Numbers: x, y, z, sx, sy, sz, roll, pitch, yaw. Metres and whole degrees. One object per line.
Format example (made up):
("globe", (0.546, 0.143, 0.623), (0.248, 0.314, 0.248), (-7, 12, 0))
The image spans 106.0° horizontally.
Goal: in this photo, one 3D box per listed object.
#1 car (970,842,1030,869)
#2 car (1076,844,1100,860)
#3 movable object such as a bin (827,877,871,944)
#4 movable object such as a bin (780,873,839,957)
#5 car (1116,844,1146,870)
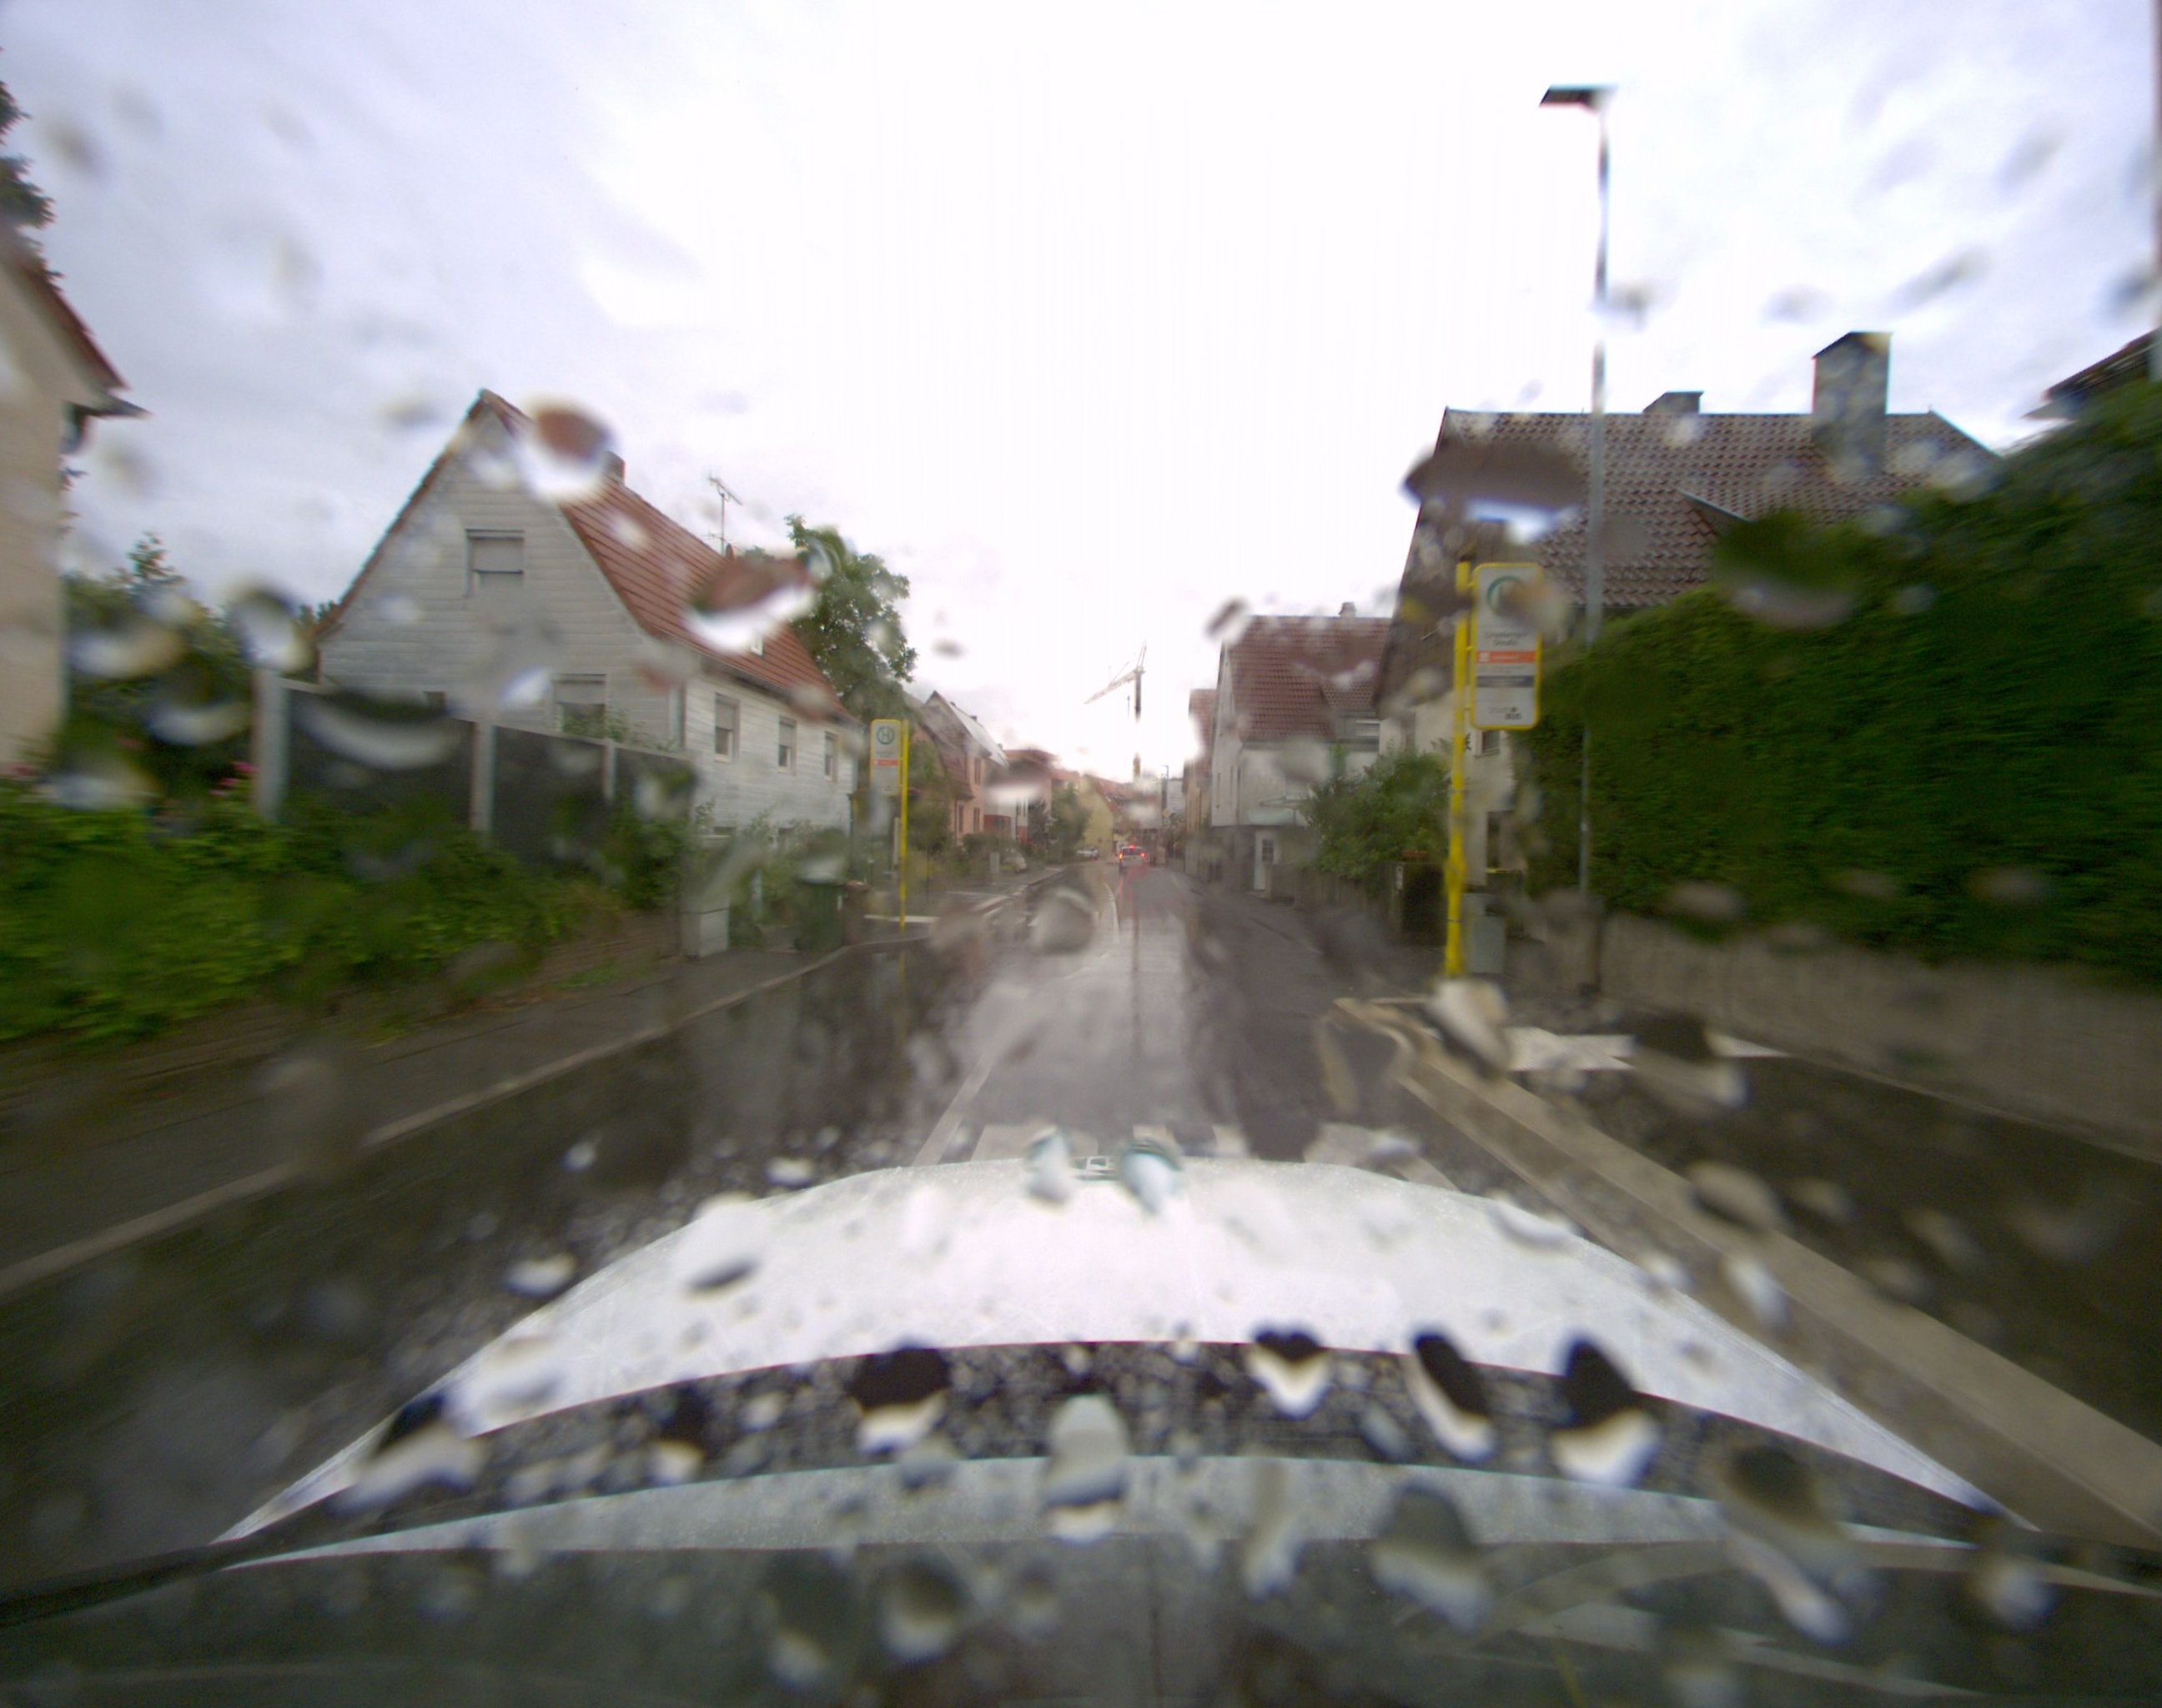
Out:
("car", (-5.206, 0.079, 52.401), (3.530, 1.529, 1.665), (3, 1, 3))
("car", (0.790, -0.286, 93.004), (1.587, 1.677, 3.957), (2, 2, 18))
("movable object such as a bin", (-3.518, 0.847, 12.374), (0.466, 0.938, 0.455), (4, 3, 4))
("movable object such as a bin", (-3.783, 0.835, 11.369), (0.550, 1.082, 0.528), (4, 1, 4))
("car", (3.681, 0.200, 60.469), (2.173, 1.869, 4.002), (0, 0, 2))
